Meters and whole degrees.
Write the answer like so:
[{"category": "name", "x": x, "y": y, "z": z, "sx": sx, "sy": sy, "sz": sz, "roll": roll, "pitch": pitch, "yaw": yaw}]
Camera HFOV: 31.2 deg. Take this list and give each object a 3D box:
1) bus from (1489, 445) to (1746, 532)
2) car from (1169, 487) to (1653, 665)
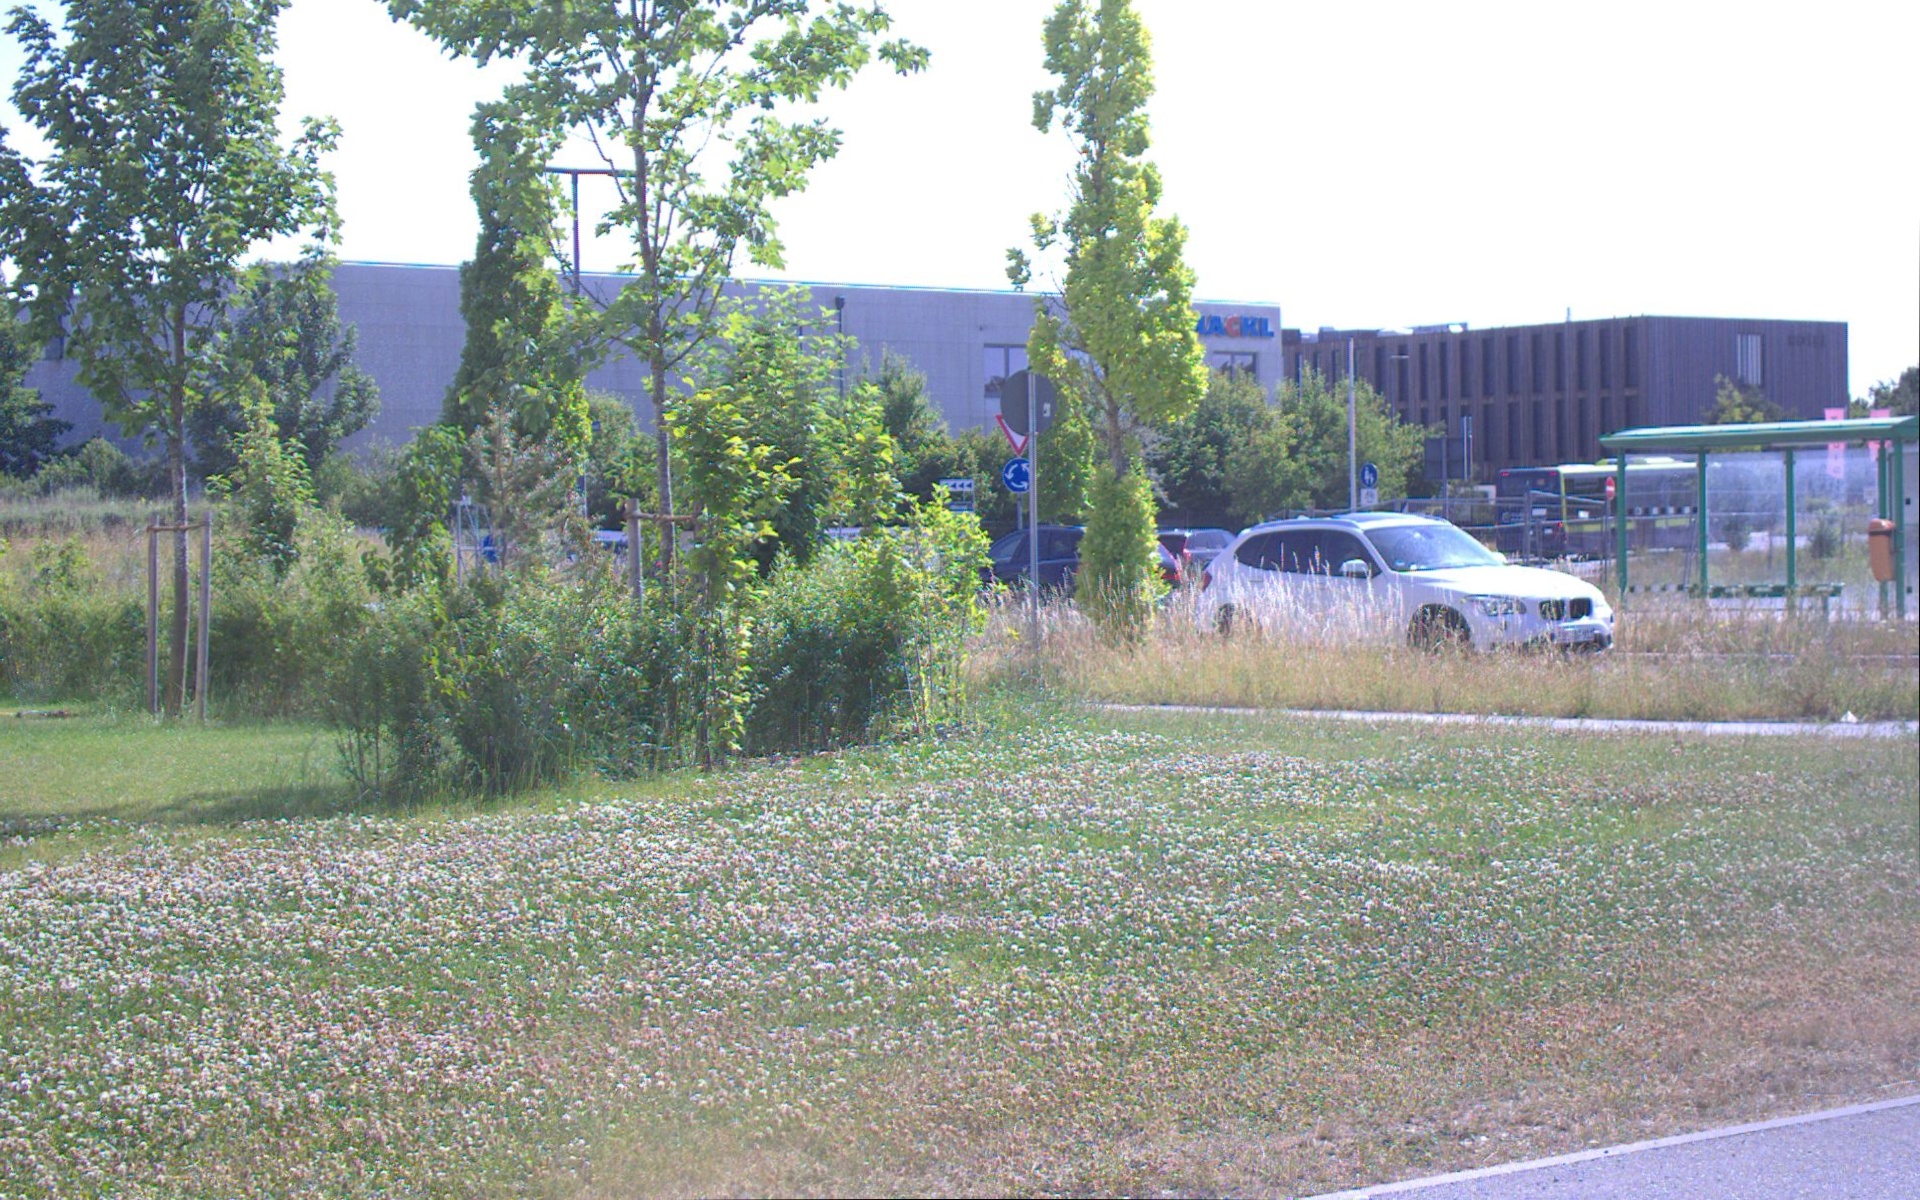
[{"category": "bus", "x": 21.862, "y": -3.737, "z": 113.624, "sx": 2.578, "sy": 2.725, "sz": 11.540, "roll": 1, "pitch": 3, "yaw": 43}, {"category": "car", "x": 4.128, "y": -0.267, "z": 32.156, "sx": 1.736, "sy": 1.546, "sz": 4.569, "roll": -1, "pitch": 2, "yaw": -38}]
